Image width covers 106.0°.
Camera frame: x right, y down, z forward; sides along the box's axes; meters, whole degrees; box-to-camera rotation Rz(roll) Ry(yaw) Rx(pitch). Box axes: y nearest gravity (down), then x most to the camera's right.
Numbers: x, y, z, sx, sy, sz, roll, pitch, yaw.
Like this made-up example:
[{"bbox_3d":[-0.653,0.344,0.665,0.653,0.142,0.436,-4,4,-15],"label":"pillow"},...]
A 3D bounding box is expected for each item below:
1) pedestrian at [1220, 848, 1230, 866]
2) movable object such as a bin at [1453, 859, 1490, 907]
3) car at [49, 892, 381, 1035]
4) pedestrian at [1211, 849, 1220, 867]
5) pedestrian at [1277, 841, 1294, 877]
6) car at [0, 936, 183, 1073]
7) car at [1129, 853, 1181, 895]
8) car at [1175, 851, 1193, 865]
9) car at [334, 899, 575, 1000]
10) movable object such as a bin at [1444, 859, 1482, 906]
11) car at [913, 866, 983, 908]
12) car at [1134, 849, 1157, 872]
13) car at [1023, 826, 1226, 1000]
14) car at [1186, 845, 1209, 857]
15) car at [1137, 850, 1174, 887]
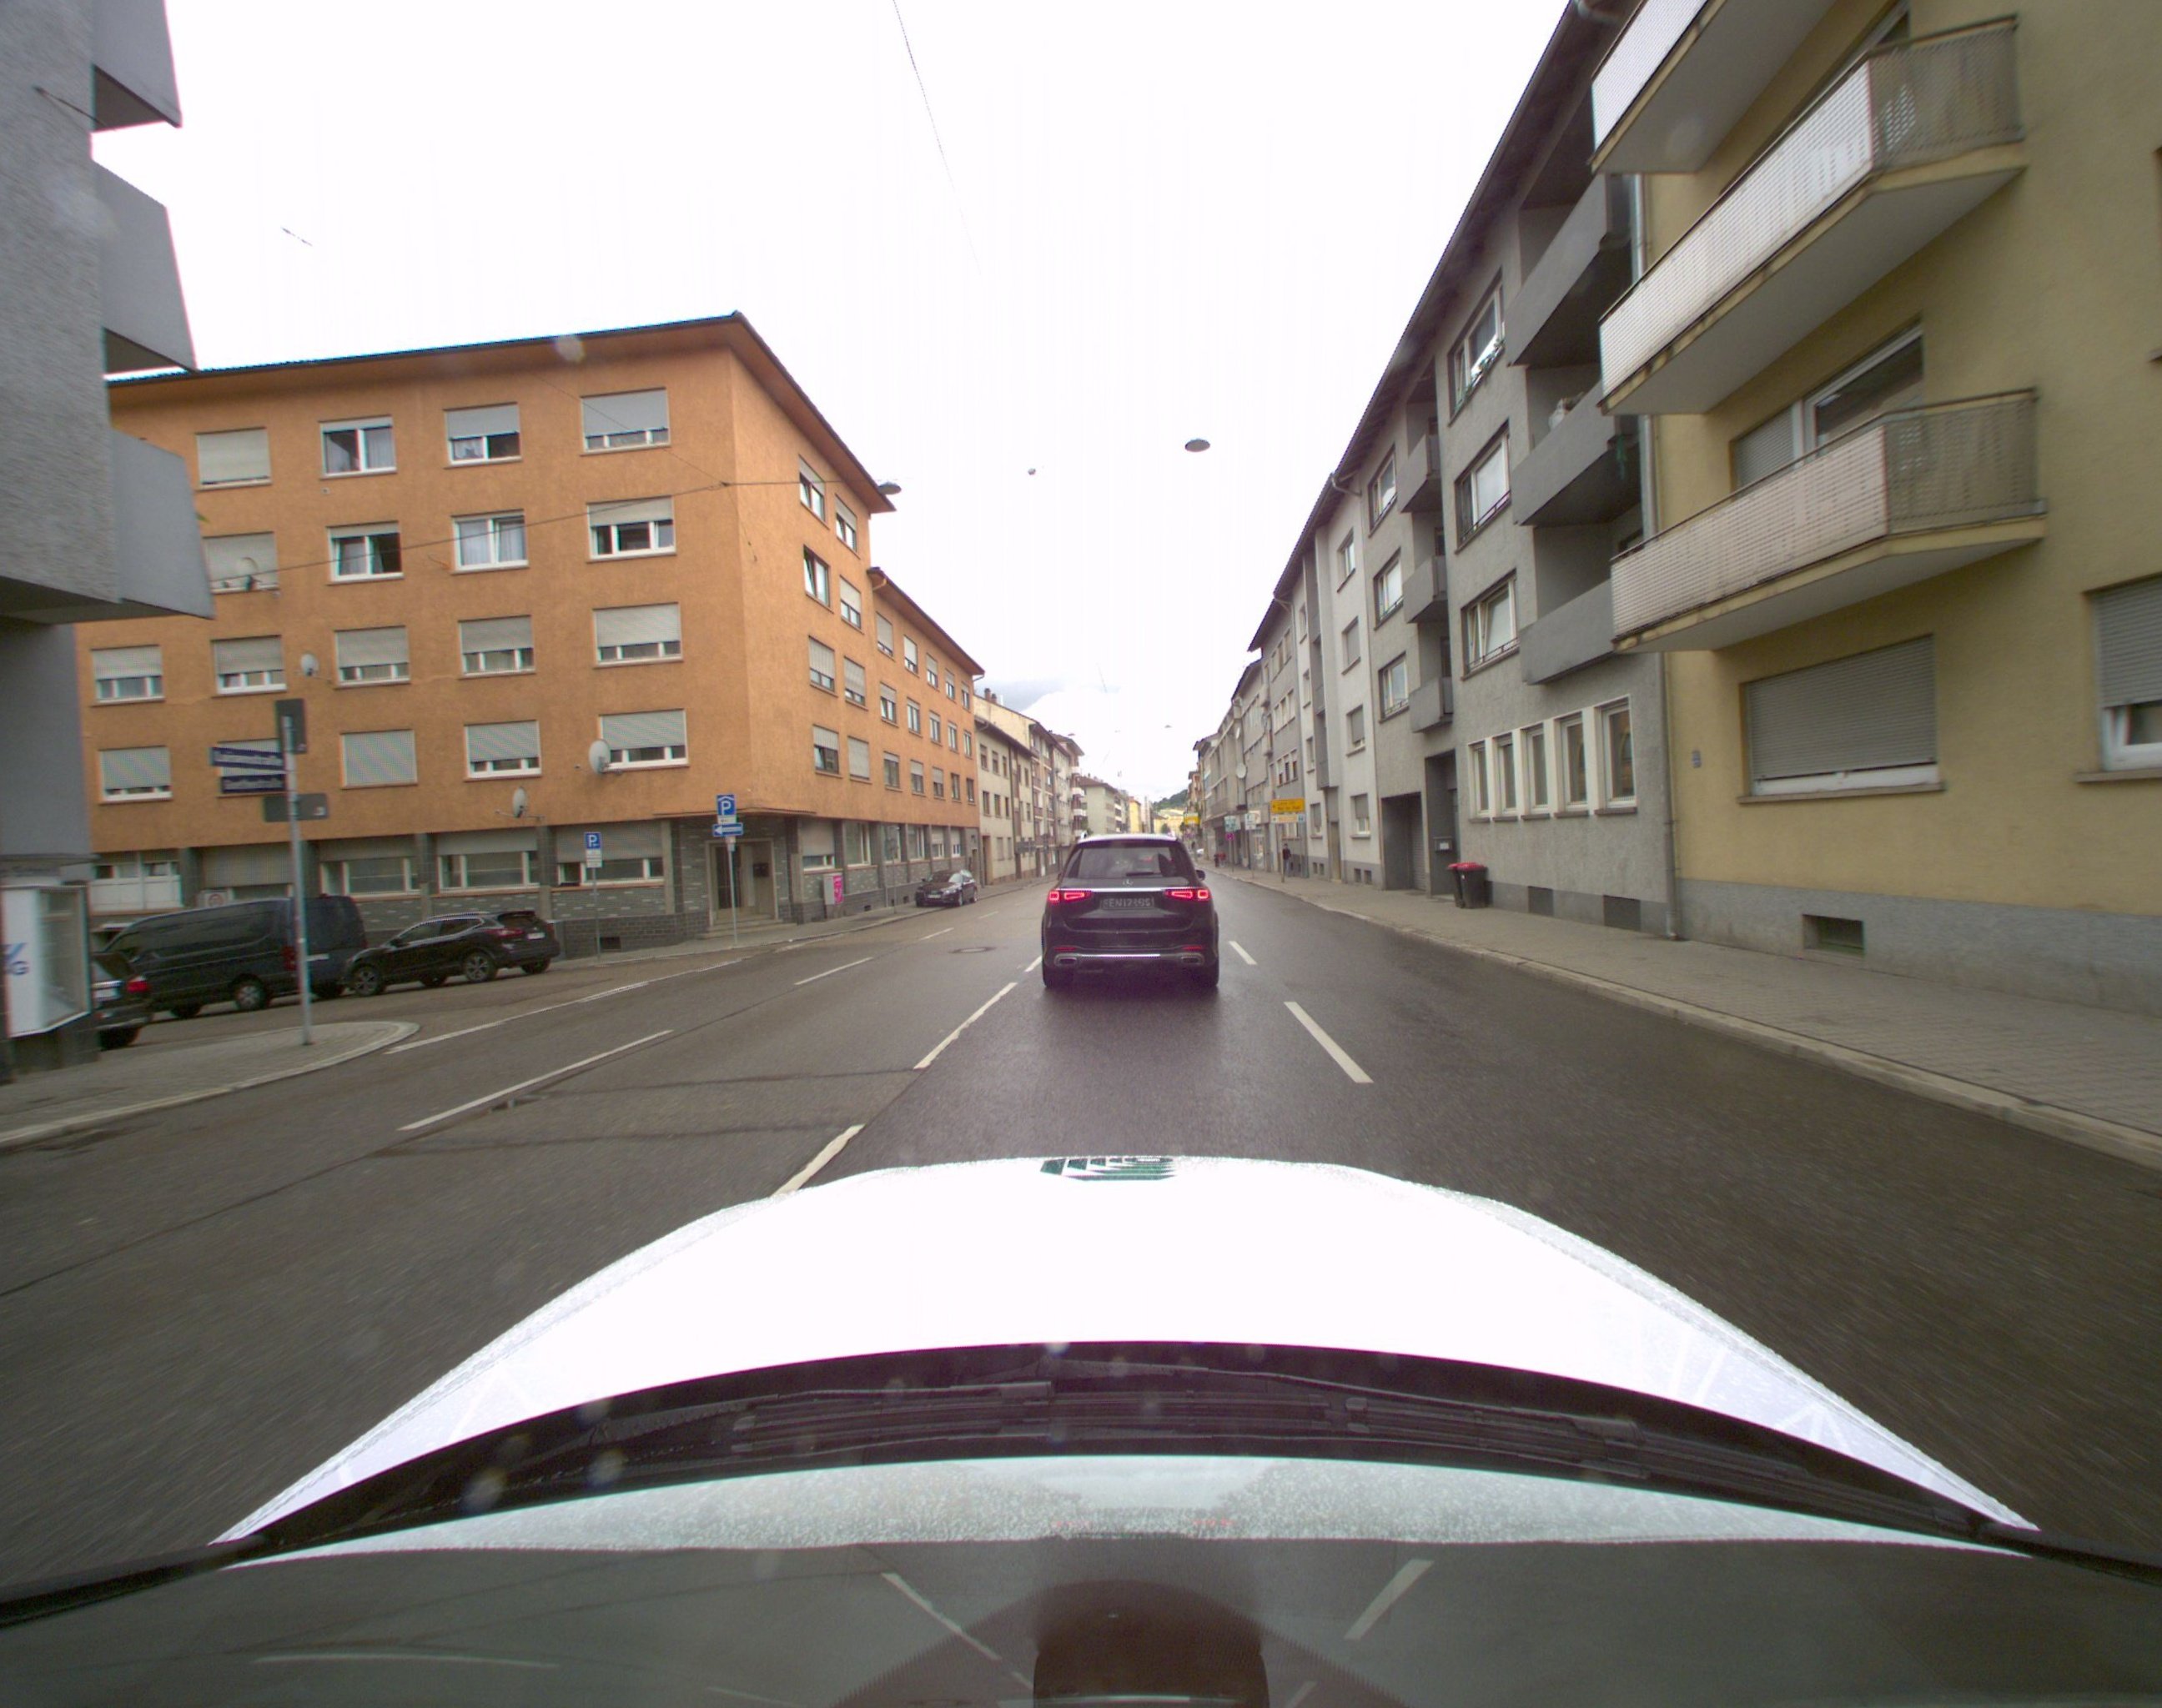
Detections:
[{"bbox_3d":[13.247,0.277,75.006,0.816,1.565,0.902,-2,0,8],"label":"pedestrian"},{"bbox_3d":[8.388,0.619,17.516,0.470,0.962,0.565,-6,0,6],"label":"movable object such as a bin"},{"bbox_3d":[-20.117,2.475,19.113,5.326,2.458,1.982,-7,0,-1],"label":"car"},{"bbox_3d":[12.406,0.361,75.111,0.816,1.565,0.902,-2,0,8],"label":"pedestrian"},{"bbox_3d":[10.501,0.262,41.770,0.651,1.752,0.744,-5,0,10],"label":"pedestrian"},{"bbox_3d":[-17.033,2.464,12.645,3.971,1.717,1.932,-7,0,3],"label":"car"},{"bbox_3d":[2.884,0.738,32.374,1.885,1.510,4.177,-1,0,3],"label":"car"},{"bbox_3d":[11.673,0.440,92.212,1.726,1.388,4.588,-2,0,4],"label":"car"},{"bbox_3d":[-14.311,2.147,18.762,3.968,1.652,1.933,-7,0,5],"label":"car"},{"bbox_3d":[8.460,0.635,18.056,0.559,0.962,0.475,-6,0,7],"label":"movable object such as a bin"},{"bbox_3d":[-5.474,1.327,34.105,1.883,1.458,4.553,-2,0,3],"label":"car"},{"bbox_3d":[6.166,0.590,77.555,1.983,2.013,4.009,-2,0,7],"label":"car"},{"bbox_3d":[0.613,0.590,10.798,2.067,1.765,4.616,-2,1,4],"label":"car"},{"bbox_3d":[20.530,-0.468,143.819,3.965,2.013,2.004,-2,0,7],"label":"car"},{"bbox_3d":[4.557,0.834,49.203,1.983,2.013,4.009,-2,0,7],"label":"car"}]
